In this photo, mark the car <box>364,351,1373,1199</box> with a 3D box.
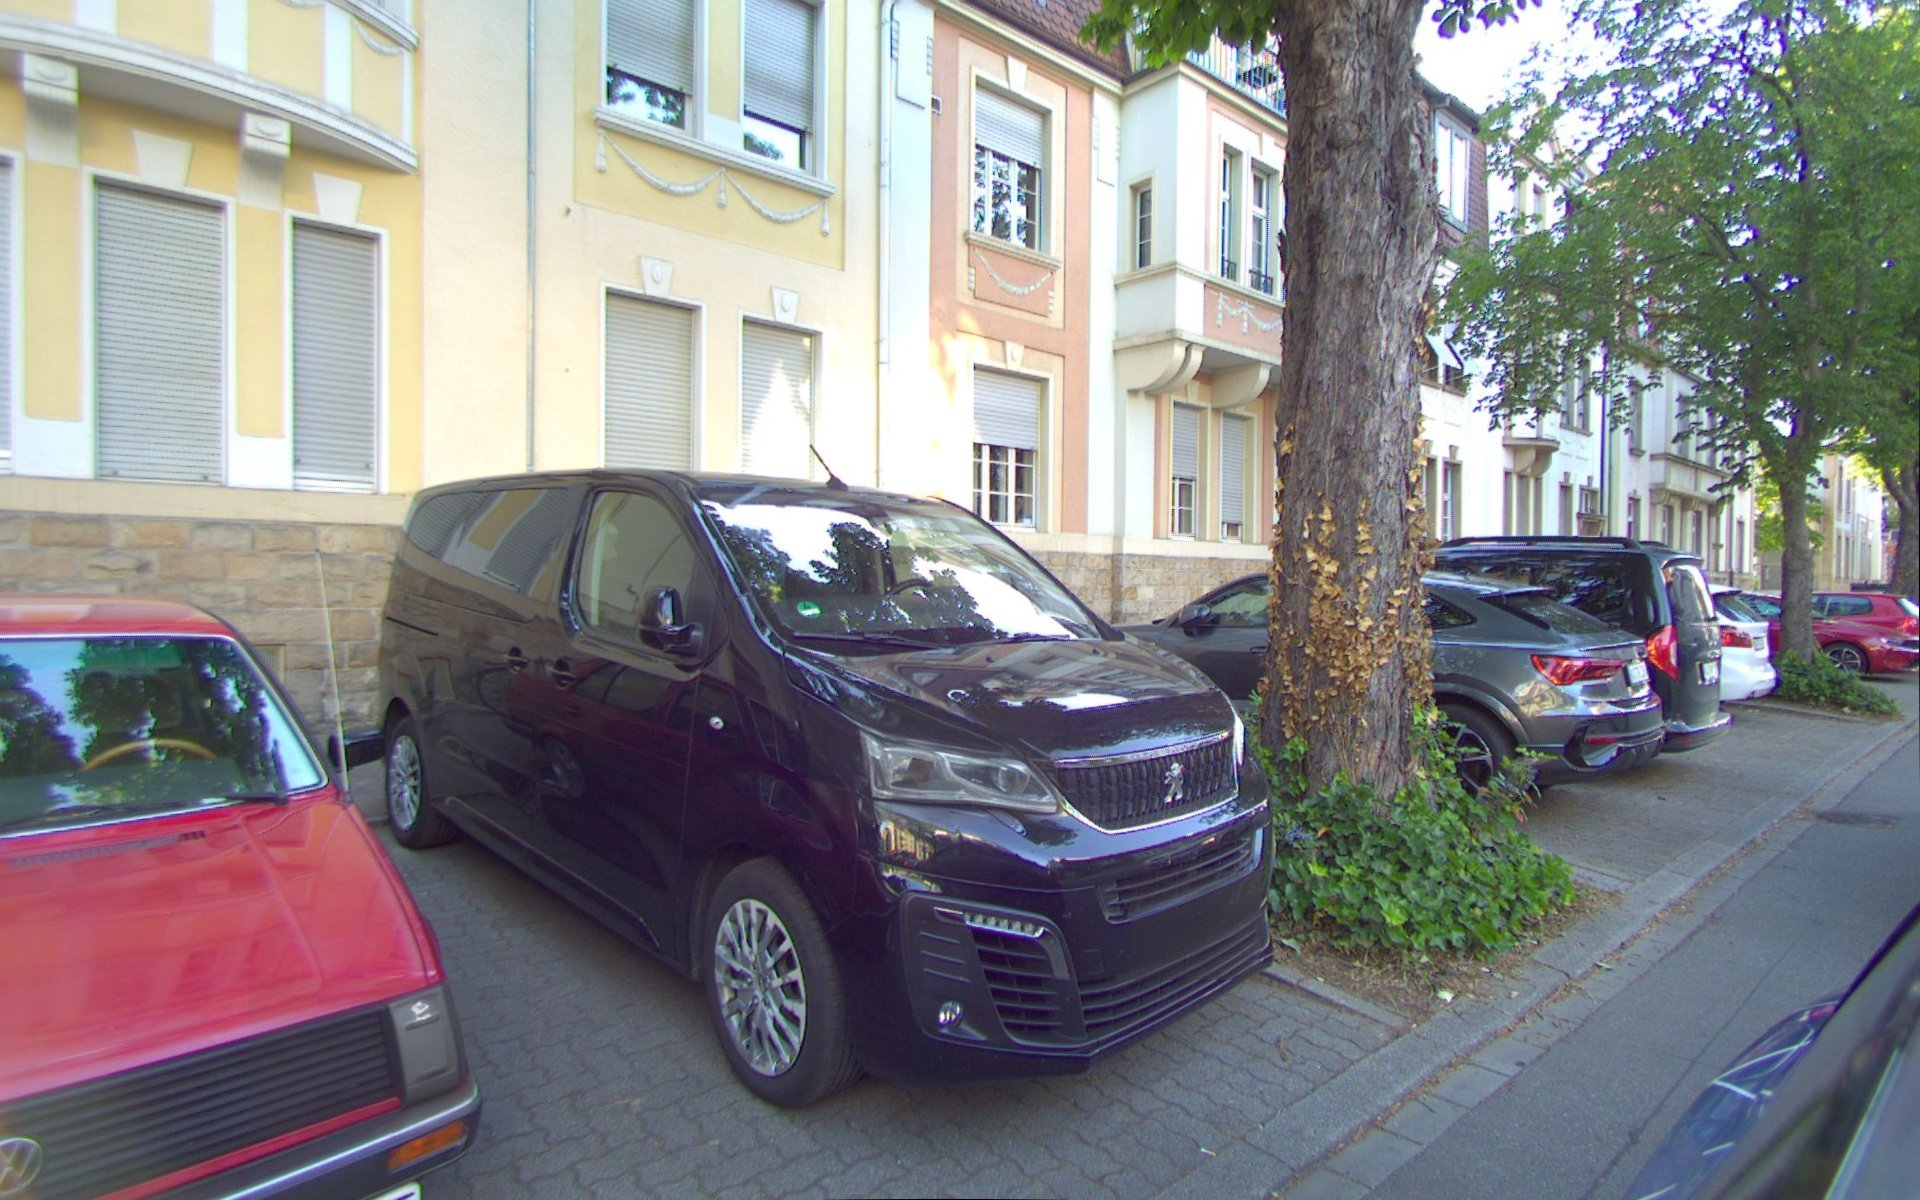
[{"bbox_3d":[-0.936,0.323,4.479,1.867,1.897,4.753,-1,3,-44],"label":"car"}]

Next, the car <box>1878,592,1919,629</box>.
[{"bbox_3d":[31.898,0.373,32.471,1.515,1.164,3.399,0,3,-39],"label":"car"}]

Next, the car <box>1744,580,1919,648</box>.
[{"bbox_3d":[21.855,0.292,24.978,1.548,1.484,3.681,0,3,-39],"label":"car"}]

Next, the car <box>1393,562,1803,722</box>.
[{"bbox_3d":[7.705,0.373,12.529,1.689,1.597,3.948,0,3,-41],"label":"car"}]

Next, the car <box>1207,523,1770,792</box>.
[{"bbox_3d":[4.521,0.305,9.149,1.814,1.860,4.116,-1,3,-42],"label":"car"}]

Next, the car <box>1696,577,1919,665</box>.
[{"bbox_3d":[16.898,0.349,19.822,1.628,1.499,3.682,0,3,-38],"label":"car"}]

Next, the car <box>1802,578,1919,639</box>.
[{"bbox_3d":[25.873,0.226,28.036,1.548,1.576,3.681,0,3,-39],"label":"car"}]

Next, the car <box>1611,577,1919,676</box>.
[{"bbox_3d":[14.788,0.378,18.466,1.833,1.470,4.533,0,3,-38],"label":"car"}]

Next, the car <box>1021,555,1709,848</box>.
[{"bbox_3d":[2.746,0.463,7.706,1.815,1.542,4.513,-1,3,-44],"label":"car"}]

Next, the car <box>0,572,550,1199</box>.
[{"bbox_3d":[-2.872,0.627,3.038,1.603,1.332,4.139,-1,3,-44],"label":"car"}]

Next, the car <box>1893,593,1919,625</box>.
[{"bbox_3d":[34.278,0.372,34.535,1.515,1.076,3.399,0,3,-39],"label":"car"}]

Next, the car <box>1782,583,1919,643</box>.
[{"bbox_3d":[24.007,0.314,26.415,1.548,1.416,3.681,0,3,-39],"label":"car"}]
